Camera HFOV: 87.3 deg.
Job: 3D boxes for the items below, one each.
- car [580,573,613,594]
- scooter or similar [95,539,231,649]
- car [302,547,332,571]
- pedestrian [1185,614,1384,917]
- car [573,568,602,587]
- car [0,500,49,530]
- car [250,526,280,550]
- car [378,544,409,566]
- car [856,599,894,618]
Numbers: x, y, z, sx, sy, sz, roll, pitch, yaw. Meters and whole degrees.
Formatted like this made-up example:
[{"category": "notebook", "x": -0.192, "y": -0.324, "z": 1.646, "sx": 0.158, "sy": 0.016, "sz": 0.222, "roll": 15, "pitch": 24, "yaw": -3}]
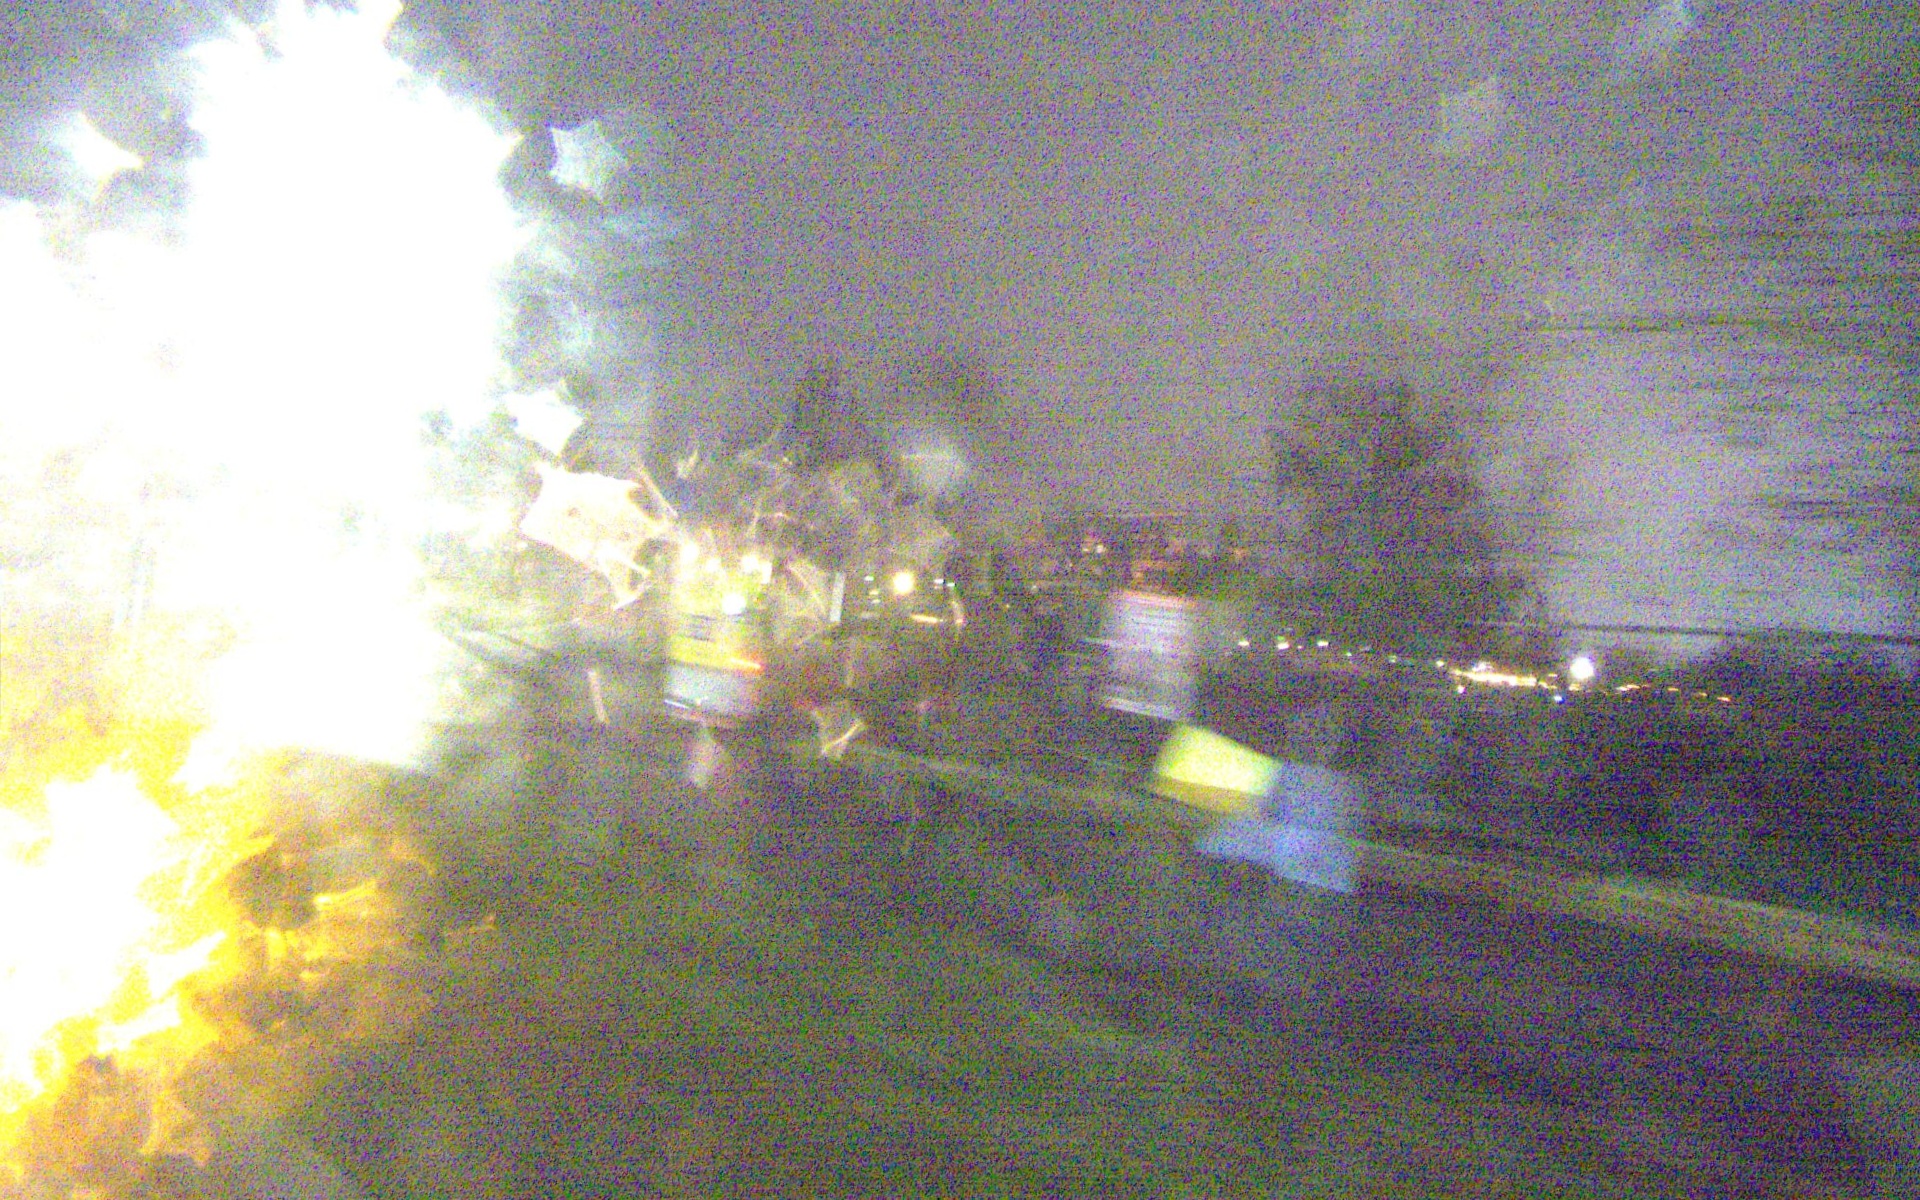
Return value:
[{"category": "car", "x": -33.003, "y": -1.512, "z": 91.203, "sx": 1.707, "sy": 1.554, "sz": 3.876, "roll": 9, "pitch": -2, "yaw": -35}, {"category": "scooter or similar", "x": -8.897, "y": -0.055, "z": 11.265, "sx": 1.094, "sy": 1.111, "sz": 0.315, "roll": 6, "pitch": 0, "yaw": -35}, {"category": "car", "x": -50.376, "y": -3.211, "z": 78.823, "sx": 1.706, "sy": 1.513, "sz": 3.879, "roll": 7, "pitch": -4, "yaw": -35}, {"category": "pedestrian", "x": 1.879, "y": 0.901, "z": 5.777, "sx": 0.821, "sy": 1.502, "sz": 0.728, "roll": 7, "pitch": -1, "yaw": 27}, {"category": "car", "x": -37.644, "y": -2.261, "z": 101.683, "sx": 1.707, "sy": 1.554, "sz": 3.876, "roll": 9, "pitch": -2, "yaw": -35}, {"category": "car", "x": -66.208, "y": -6.038, "z": 69.794, "sx": 3.953, "sy": 1.703, "sz": 1.907, "roll": 9, "pitch": -2, "yaw": -26}, {"category": "car", "x": -53.287, "y": -4.756, "z": 77.143, "sx": 1.707, "sy": 1.514, "sz": 3.876, "roll": 9, "pitch": -2, "yaw": -35}, {"category": "car", "x": -46.120, "y": -3.660, "z": 81.818, "sx": 1.707, "sy": 1.514, "sz": 3.876, "roll": 9, "pitch": -2, "yaw": -35}, {"category": "car", "x": -9.151, "y": 0.889, "z": 108.264, "sx": 1.707, "sy": 1.554, "sz": 4.950, "roll": 9, "pitch": -2, "yaw": -35}]
